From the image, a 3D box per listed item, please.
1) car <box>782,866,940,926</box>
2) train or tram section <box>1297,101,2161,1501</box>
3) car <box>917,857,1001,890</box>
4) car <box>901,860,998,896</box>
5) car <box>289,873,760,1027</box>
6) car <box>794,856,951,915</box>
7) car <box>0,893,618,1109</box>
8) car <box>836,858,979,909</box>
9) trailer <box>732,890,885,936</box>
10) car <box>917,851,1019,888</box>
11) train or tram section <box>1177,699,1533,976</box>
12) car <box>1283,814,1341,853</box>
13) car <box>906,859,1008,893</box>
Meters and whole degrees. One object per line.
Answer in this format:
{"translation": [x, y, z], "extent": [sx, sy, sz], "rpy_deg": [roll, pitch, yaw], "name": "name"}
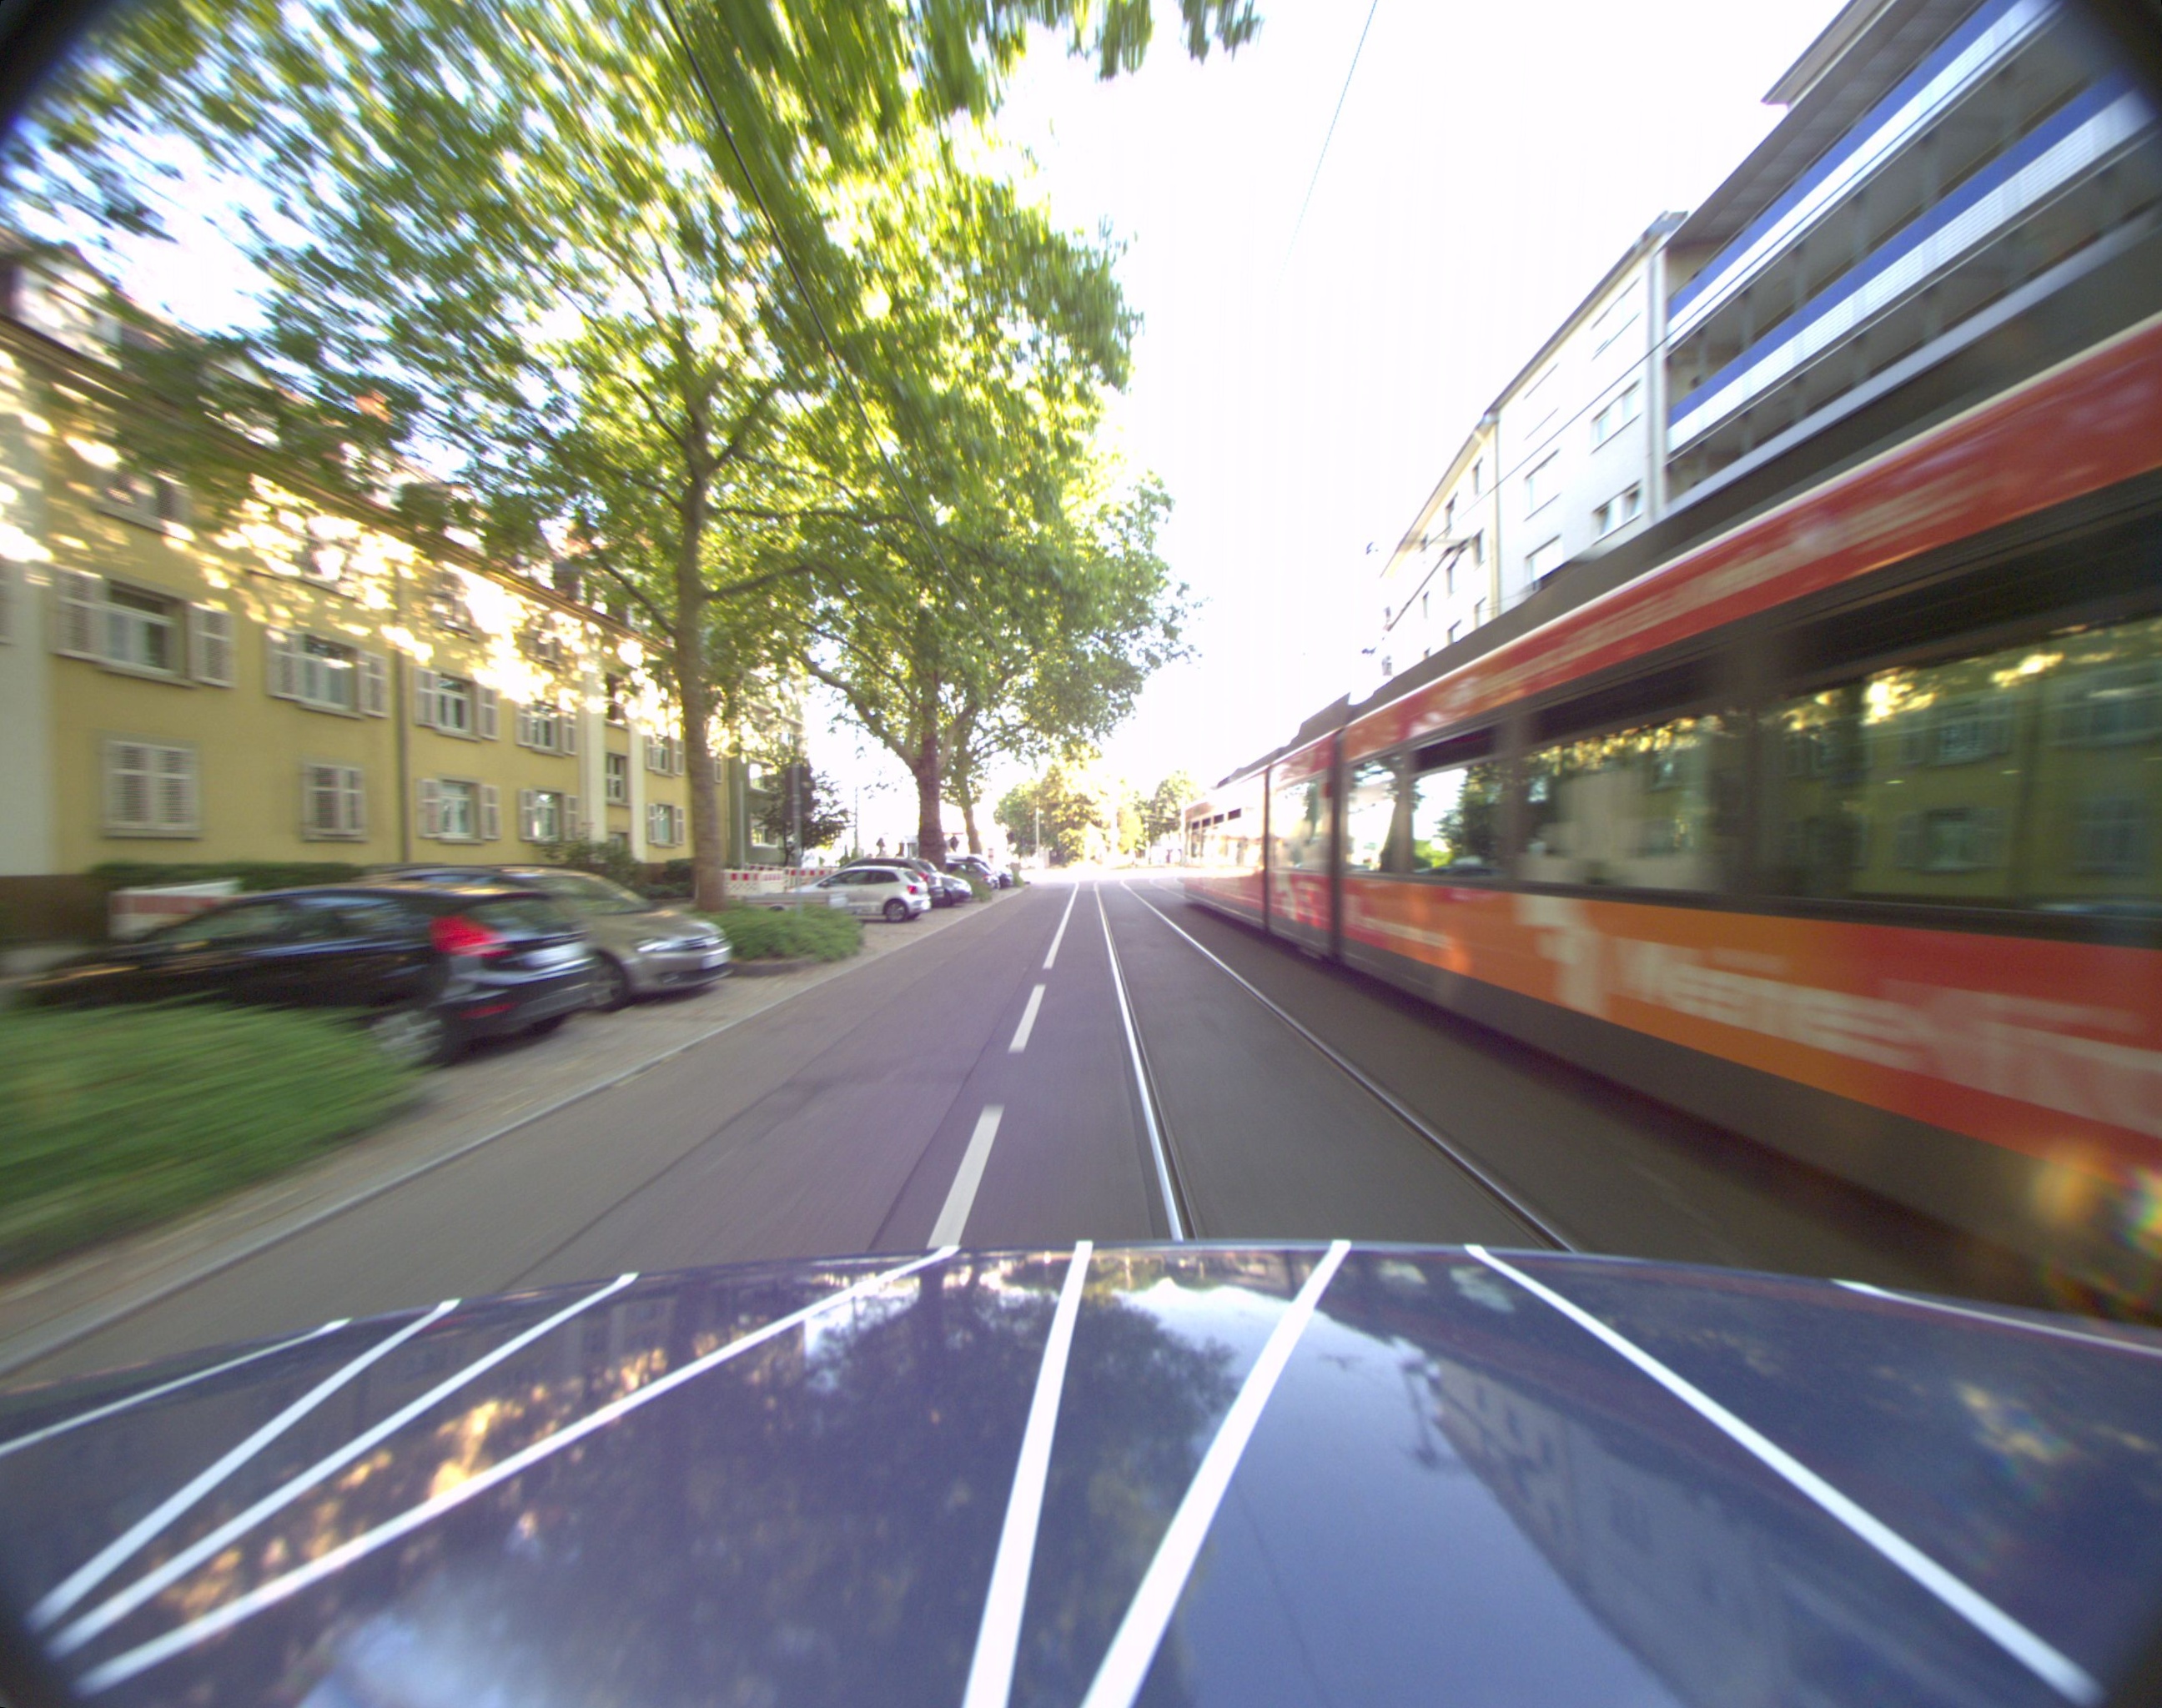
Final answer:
{"translation": [-5.844, 1.099, 20.477], "extent": [3.660, 1.416, 1.866], "rpy_deg": [1, 0, 2], "name": "car"}
{"translation": [4.142, -0.140, 2.530], "extent": [2.916, 3.465, 14.197], "rpy_deg": [-1, 0, 1], "name": "train or tram section"}
{"translation": [-6.031, 0.962, 37.824], "extent": [3.884, 1.596, 1.796], "rpy_deg": [0, 0, 0], "name": "car"}
{"translation": [-5.586, 1.015, 32.524], "extent": [3.891, 1.488, 1.741], "rpy_deg": [0, 0, -2], "name": "car"}
{"translation": [-6.163, 1.018, 8.799], "extent": [4.087, 1.541, 1.830], "rpy_deg": [0, 1, 0], "name": "car"}
{"translation": [-6.418, 0.937, 23.657], "extent": [4.318, 1.721, 1.841], "rpy_deg": [0, 0, 4], "name": "car"}
{"translation": [-6.196, 1.081, 6.271], "extent": [3.663, 1.418, 1.737], "rpy_deg": [0, 0, -3], "name": "car"}
{"translation": [-5.832, 0.983, 25.970], "extent": [4.436, 1.648, 1.908], "rpy_deg": [0, 1, -1], "name": "car"}
{"translation": [-6.361, 1.358, 17.880], "extent": [3.046, 0.898, 1.437], "rpy_deg": [1, 1, 7], "name": "trailer"}
{"translation": [-5.957, 0.775, 40.392], "extent": [5.126, 1.845, 1.914], "rpy_deg": [1, 1, 0], "name": "car"}
{"translation": [4.323, -0.232, 16.303], "extent": [2.916, 3.465, 13.369], "rpy_deg": [-1, 0, 1], "name": "train or tram section"}
{"translation": [11.506, -0.989, 38.096], "extent": [1.997, 1.821, 4.226], "rpy_deg": [0, 0, 6], "name": "car"}
{"translation": [-5.711, 1.015, 35.304], "extent": [4.410, 1.514, 1.818], "rpy_deg": [0, 0, 1], "name": "car"}
